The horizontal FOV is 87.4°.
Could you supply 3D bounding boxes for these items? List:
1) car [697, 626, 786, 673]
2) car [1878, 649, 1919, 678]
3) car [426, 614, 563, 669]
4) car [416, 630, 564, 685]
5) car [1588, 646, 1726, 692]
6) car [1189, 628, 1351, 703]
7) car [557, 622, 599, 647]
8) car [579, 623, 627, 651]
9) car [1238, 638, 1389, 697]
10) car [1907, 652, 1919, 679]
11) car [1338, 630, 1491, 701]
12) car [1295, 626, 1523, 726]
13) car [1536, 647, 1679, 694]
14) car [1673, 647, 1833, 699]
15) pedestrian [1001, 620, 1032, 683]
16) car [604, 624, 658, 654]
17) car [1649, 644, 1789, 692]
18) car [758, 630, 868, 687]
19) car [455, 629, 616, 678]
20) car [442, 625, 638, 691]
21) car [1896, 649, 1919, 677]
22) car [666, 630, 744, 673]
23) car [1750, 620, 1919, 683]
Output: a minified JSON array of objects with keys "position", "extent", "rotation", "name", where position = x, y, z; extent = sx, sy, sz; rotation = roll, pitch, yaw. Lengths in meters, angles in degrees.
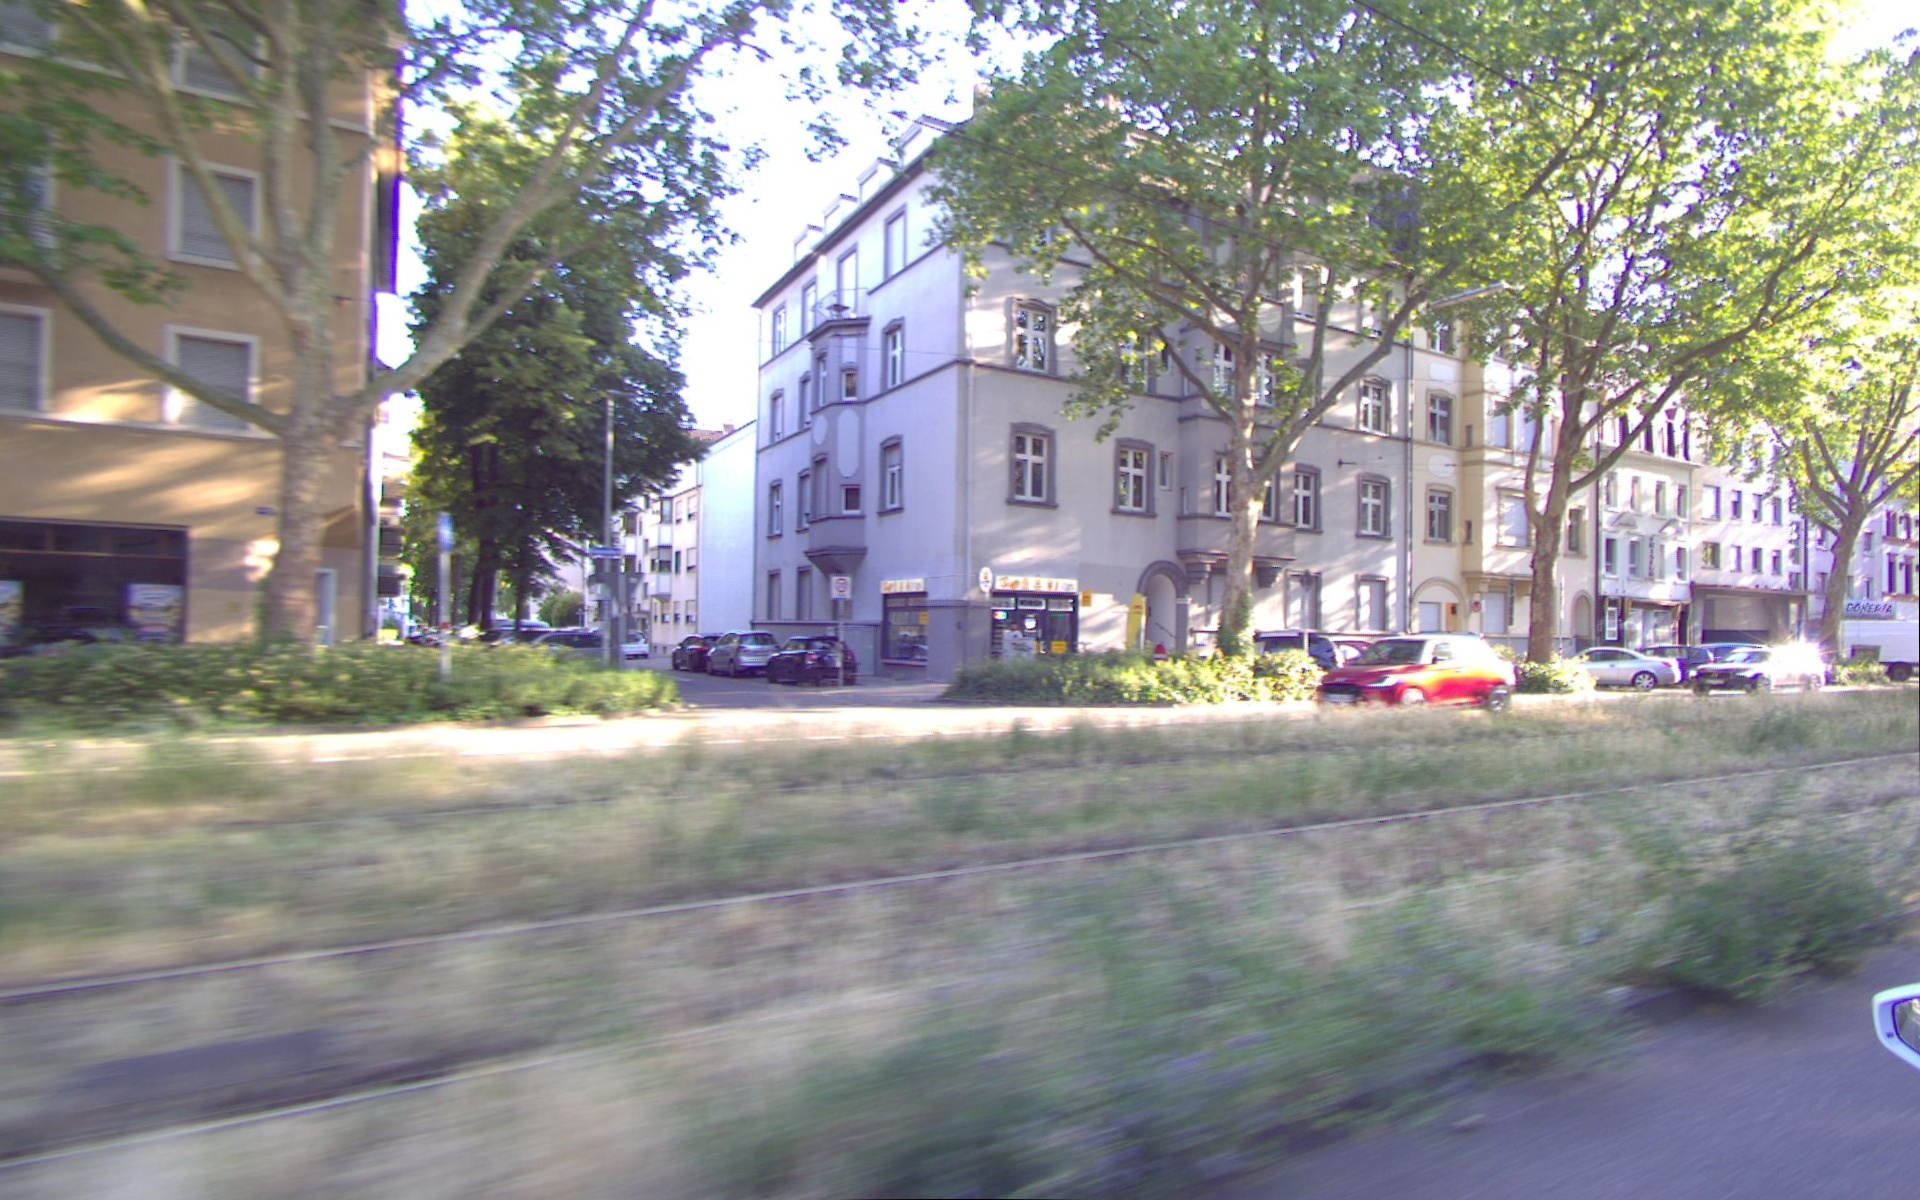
[{"position":[-7.701,1.687,35.123],"extent":[1.795,1.528,3.965],"rotation":[2,-2,-32],"name":"car"},{"position":[50.153,3.309,51.538],"extent":[1.840,1.477,4.270],"rotation":[3,-2,-35],"name":"car"},{"position":[-17.213,1.542,37.204],"extent":[4.371,1.957,1.780],"rotation":[2,-2,-33],"name":"car"},{"position":[-15.975,1.941,34.312],"extent":[1.733,1.732,4.218],"rotation":[0,-2,39],"name":"car"},{"position":[25.582,2.537,37.040],"extent":[3.928,1.573,1.854],"rotation":[-3,-3,28],"name":"car"},{"position":[8.205,1.692,26.570],"extent":[3.922,1.746,1.785],"rotation":[1,-2,21],"name":"car"},{"position":[-24.957,2.254,65.590],"extent":[1.795,1.528,3.965],"rotation":[2,-2,-32],"name":"car"},{"position":[-20.819,2.129,58.471],"extent":[1.795,1.528,3.965],"rotation":[2,-2,-32],"name":"car"},{"position":[10.015,1.873,28.558],"extent":[3.922,1.467,1.586],"rotation":[1,-2,21],"name":"car"},{"position":[55.385,3.696,55.385],"extent":[4.227,1.477,1.859],"rotation":[1,-2,20],"name":"car"},{"position":[13.468,1.915,30.021],"extent":[3.920,1.906,2.001],"rotation":[1,-2,18],"name":"car"},{"position":[8.057,1.312,17.962],"extent":[3.953,1.594,1.782],"rotation":[2,-2,-30],"name":"car"},{"position":[21.776,2.356,33.955],"extent":[3.927,1.374,1.584],"rotation":[1,-2,29],"name":"car"},{"position":[24.685,2.270,31.252],"extent":[4.854,1.479,1.742],"rotation":[3,-2,-22],"name":"car"},{"position":[1.643,1.482,29.112],"extent":[0.664,1.782,0.625],"rotation":[1,-2,-25],"name":"pedestrian"},{"position":[-17.546,2.049,53.473],"extent":[1.795,1.528,3.965],"rotation":[2,-2,-32],"name":"car"},{"position":[28.750,2.552,38.208],"extent":[3.928,1.721,1.854],"rotation":[-2,-3,28],"name":"car"},{"position":[-4.471,1.701,30.047],"extent":[1.795,1.528,3.965],"rotation":[2,-2,-32],"name":"car"},{"position":[-12.968,1.622,30.992],"extent":[1.764,1.354,4.411],"rotation":[0,-2,29],"name":"car"},{"position":[-10.706,1.519,25.974],"extent":[1.764,1.522,4.525],"rotation":[0,-4,29],"name":"car"},{"position":[52.408,3.401,52.979],"extent":[4.244,1.477,1.851],"rotation":[0,-2,38],"name":"car"},{"position":[-9.985,1.990,39.168],"extent":[1.795,1.528,3.965],"rotation":[2,-2,-32],"name":"car"},{"position":[41.542,2.400,47.253],"extent":[6.854,2.713,2.176],"rotation":[0,-2,40],"name":"car"}]
